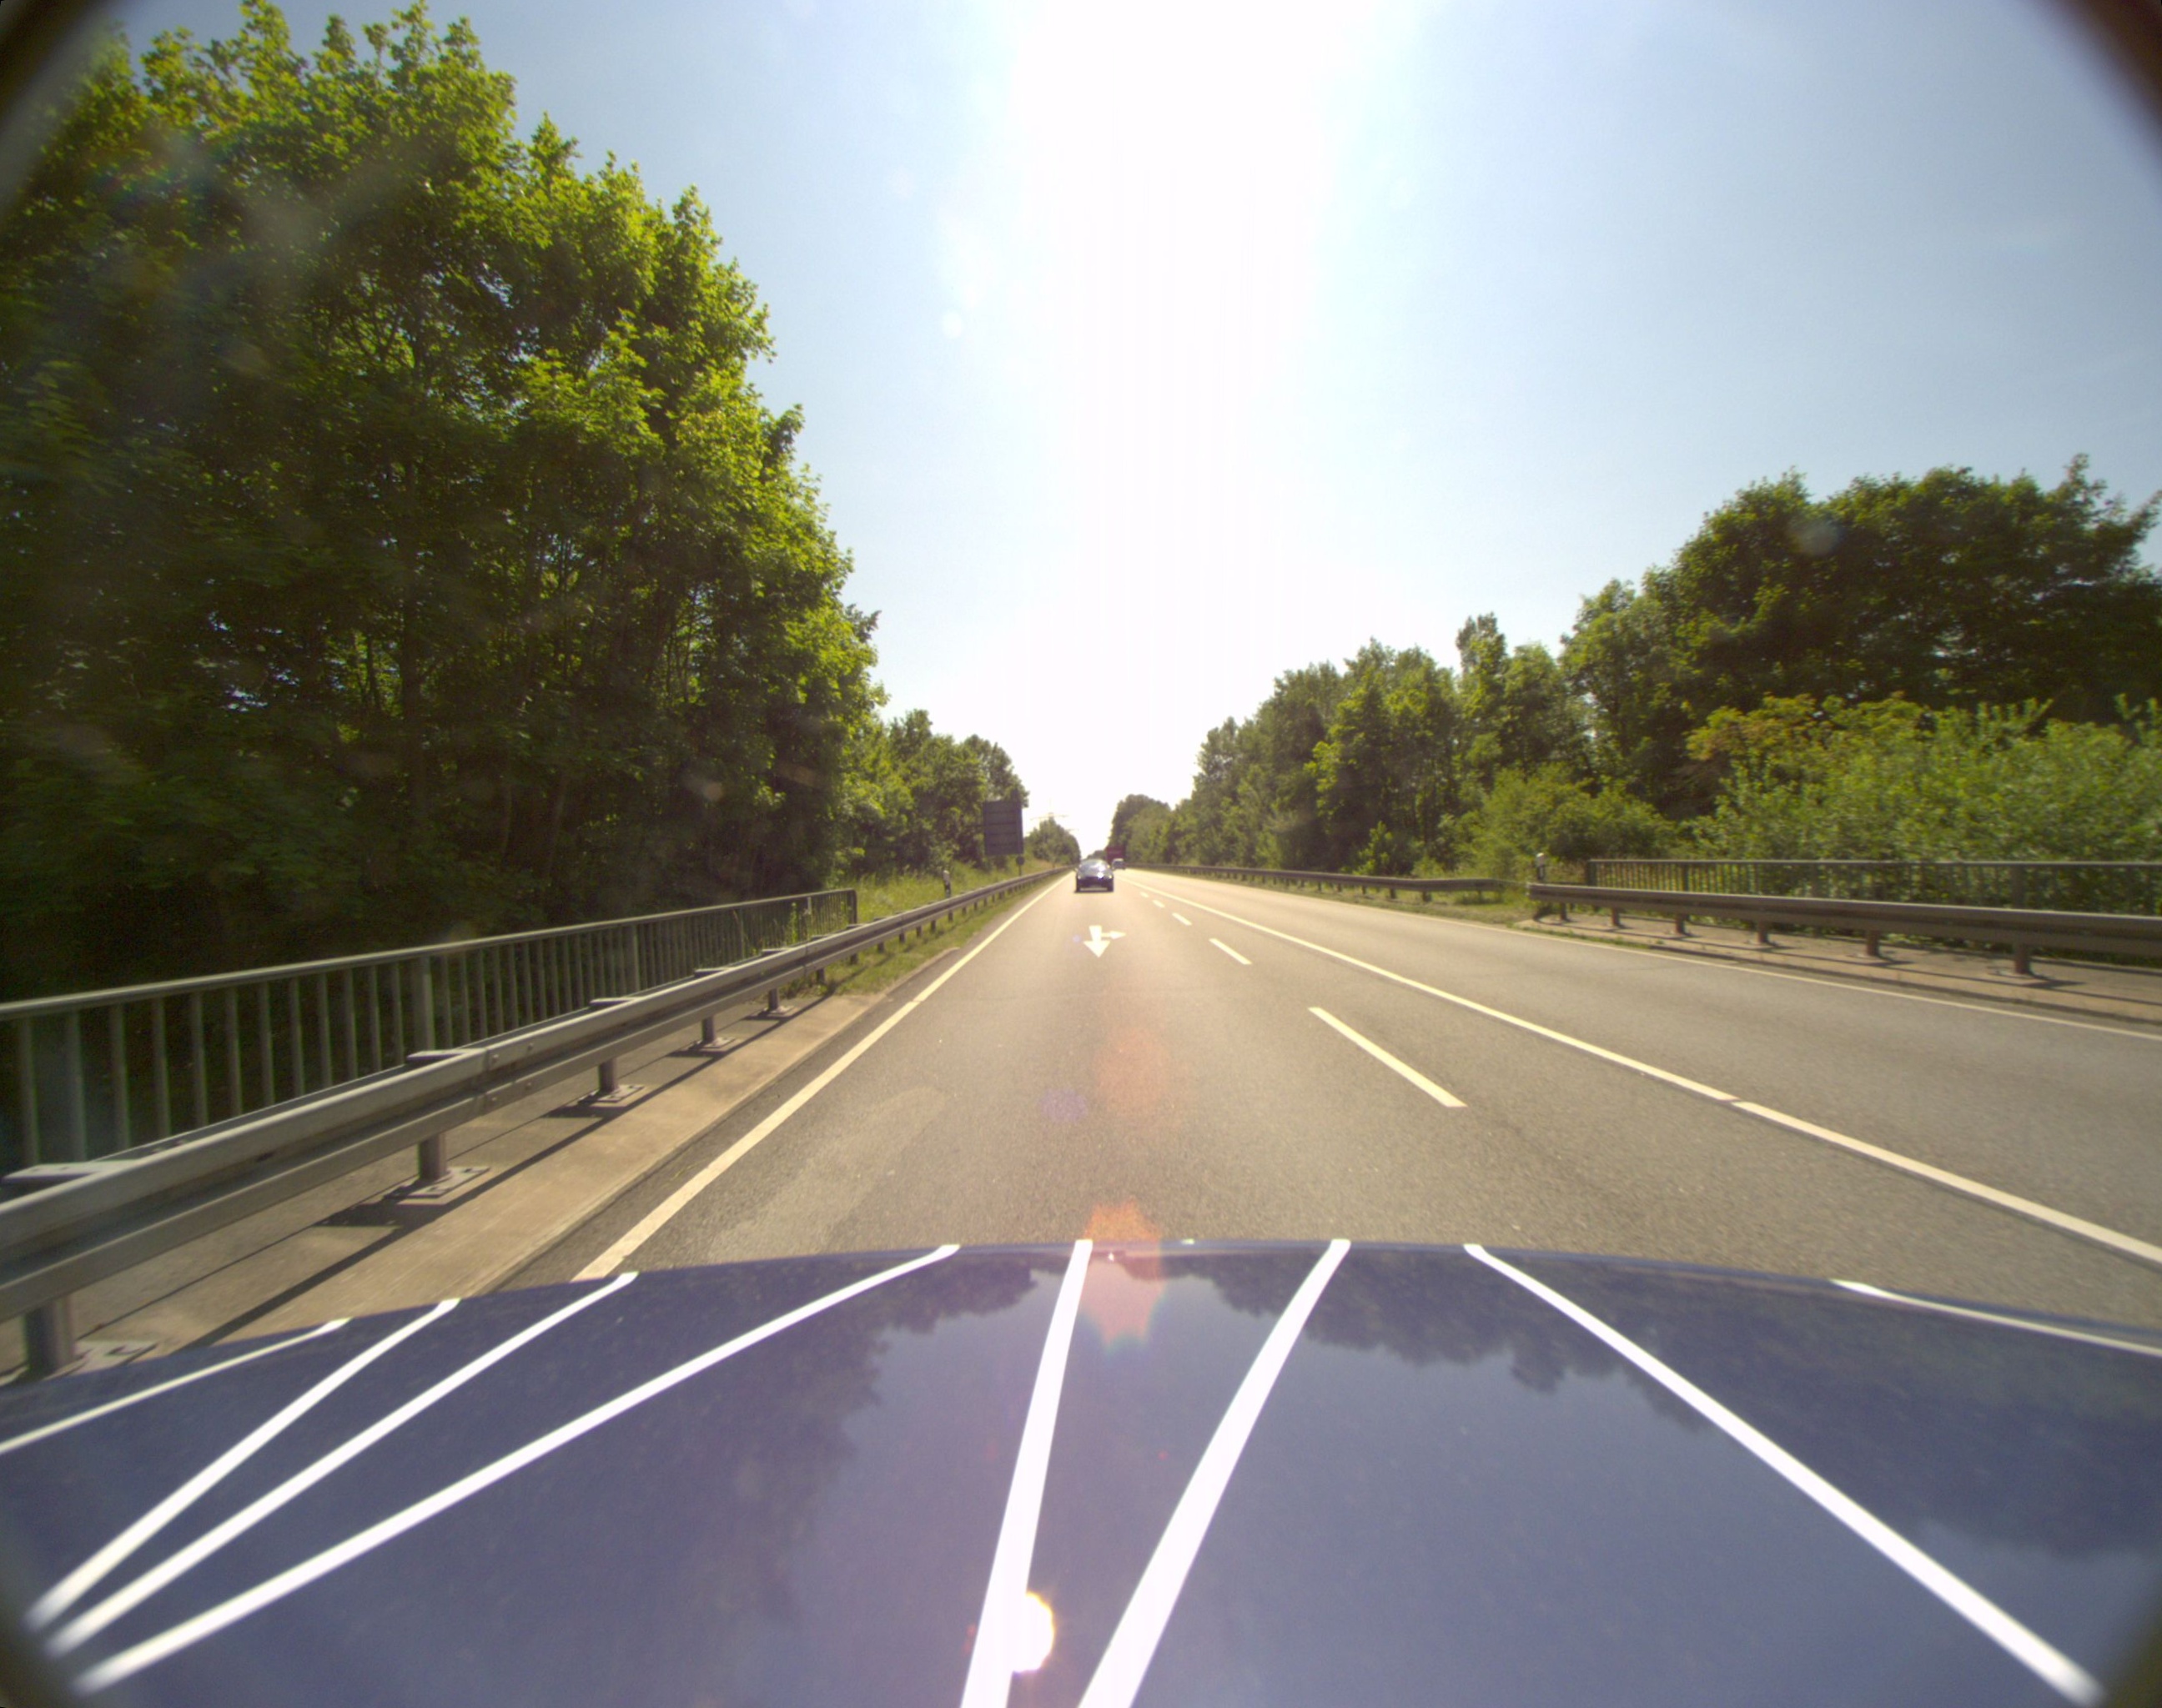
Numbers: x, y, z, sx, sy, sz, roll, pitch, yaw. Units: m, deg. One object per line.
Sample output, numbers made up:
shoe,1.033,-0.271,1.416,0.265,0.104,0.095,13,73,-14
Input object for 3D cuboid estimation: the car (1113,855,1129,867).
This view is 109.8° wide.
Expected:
car,5.482,0.906,104.594,1.823,1.537,4.526,-1,0,-1

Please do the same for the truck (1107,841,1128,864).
truck,6.260,-0.228,130.540,3.200,3.678,9.006,-2,0,1

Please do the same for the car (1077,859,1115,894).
car,0.639,0.936,32.680,1.529,1.387,3.443,-1,0,1
